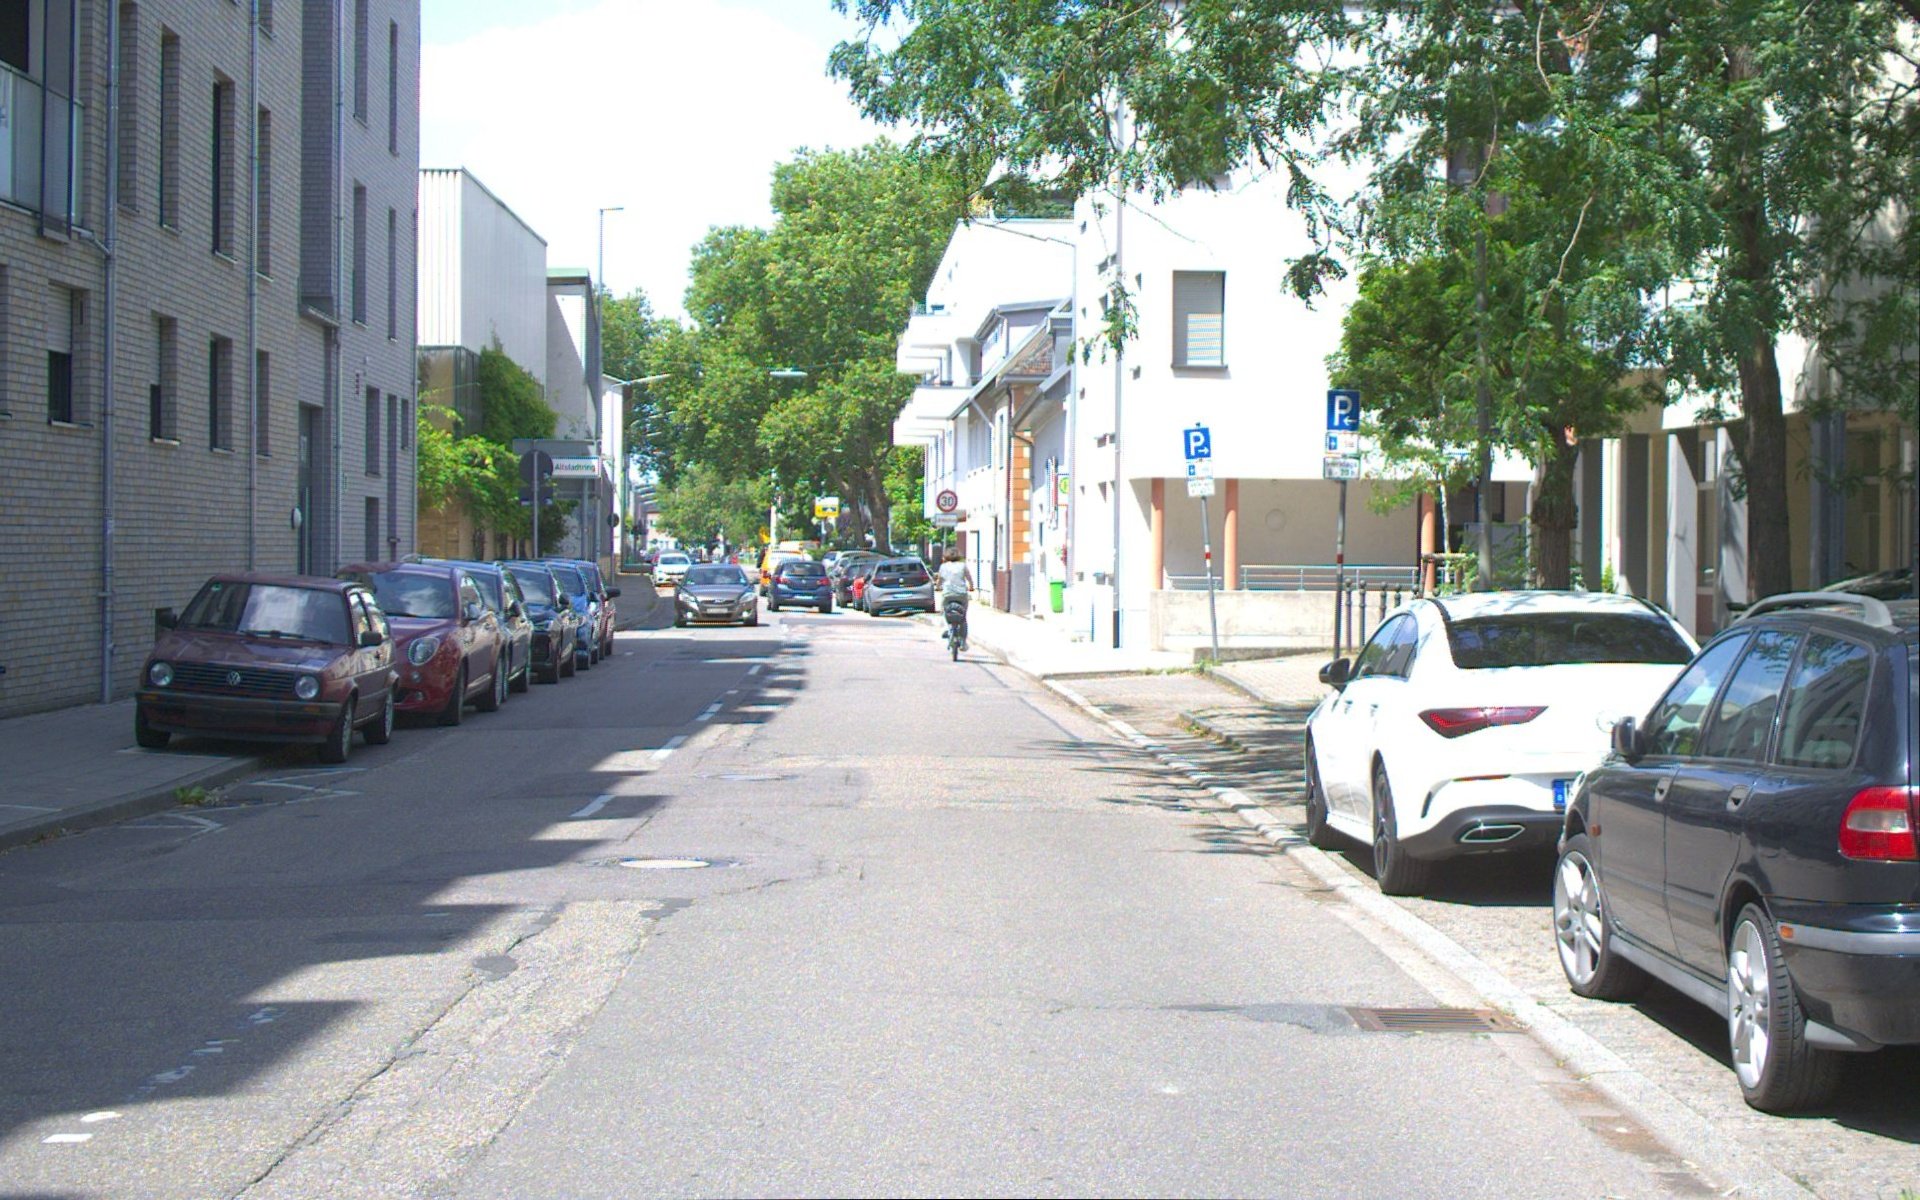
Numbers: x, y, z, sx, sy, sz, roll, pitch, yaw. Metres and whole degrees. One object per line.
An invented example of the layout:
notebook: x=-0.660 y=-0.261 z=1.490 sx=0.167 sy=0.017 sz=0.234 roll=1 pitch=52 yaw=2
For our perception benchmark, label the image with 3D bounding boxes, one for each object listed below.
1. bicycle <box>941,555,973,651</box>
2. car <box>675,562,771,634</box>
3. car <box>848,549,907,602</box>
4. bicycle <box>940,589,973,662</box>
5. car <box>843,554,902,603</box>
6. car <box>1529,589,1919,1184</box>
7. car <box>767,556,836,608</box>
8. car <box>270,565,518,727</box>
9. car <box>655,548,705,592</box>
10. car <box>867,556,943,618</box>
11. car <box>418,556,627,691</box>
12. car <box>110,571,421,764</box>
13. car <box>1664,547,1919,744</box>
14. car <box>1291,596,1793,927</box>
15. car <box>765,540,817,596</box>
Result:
bicycle: x=-0.052 y=0.040 z=53.256 sx=0.477 sy=1.485 sz=0.576 roll=0 pitch=0 yaw=-1
car: x=-5.241 y=-0.066 z=76.536 sx=1.993 sy=1.514 sz=4.000 roll=0 pitch=1 yaw=-2
car: x=-2.618 y=-0.798 z=109.802 sx=1.825 sy=1.637 sz=3.535 roll=0 pitch=1 yaw=-1
bicycle: x=-0.054 y=0.387 z=53.274 sx=0.483 sy=1.111 sz=1.196 roll=0 pitch=1 yaw=-1
car: x=-2.640 y=-0.663 z=104.566 sx=1.753 sy=1.447 sz=3.679 roll=0 pitch=1 yaw=-1
car: x=2.988 y=0.709 z=10.652 sx=1.692 sy=1.415 sz=4.000 roll=-2 pitch=1 yaw=-1
car: x=-4.442 y=-0.525 z=96.953 sx=1.715 sy=1.397 sz=4.000 roll=0 pitch=1 yaw=1
car: x=-5.358 y=0.397 z=32.993 sx=1.732 sy=1.437 sz=4.000 roll=0 pitch=1 yaw=0
car: x=-12.787 y=-1.373 z=157.007 sx=1.993 sy=2.007 sz=4.000 roll=0 pitch=1 yaw=-1
car: x=-1.519 y=-0.375 z=93.313 sx=1.993 sy=1.612 sz=4.000 roll=1 pitch=1 yaw=-1
car: x=-5.059 y=0.234 z=40.232 sx=1.826 sy=1.415 sz=4.000 roll=2 pitch=1 yaw=1
car: x=-5.560 y=0.492 z=27.985 sx=1.732 sy=1.437 sz=4.000 roll=0 pitch=1 yaw=0
car: x=7.907 y=0.383 z=26.706 sx=4.377 sy=1.376 sz=2.001 roll=2 pitch=1 yaw=-24
car: x=2.770 y=0.712 z=17.230 sx=1.779 sy=1.415 sz=4.000 roll=0 pitch=1 yaw=-1
car: x=-6.261 y=-1.197 z=127.700 sx=1.839 sy=2.007 sz=4.001 roll=1 pitch=1 yaw=-2
